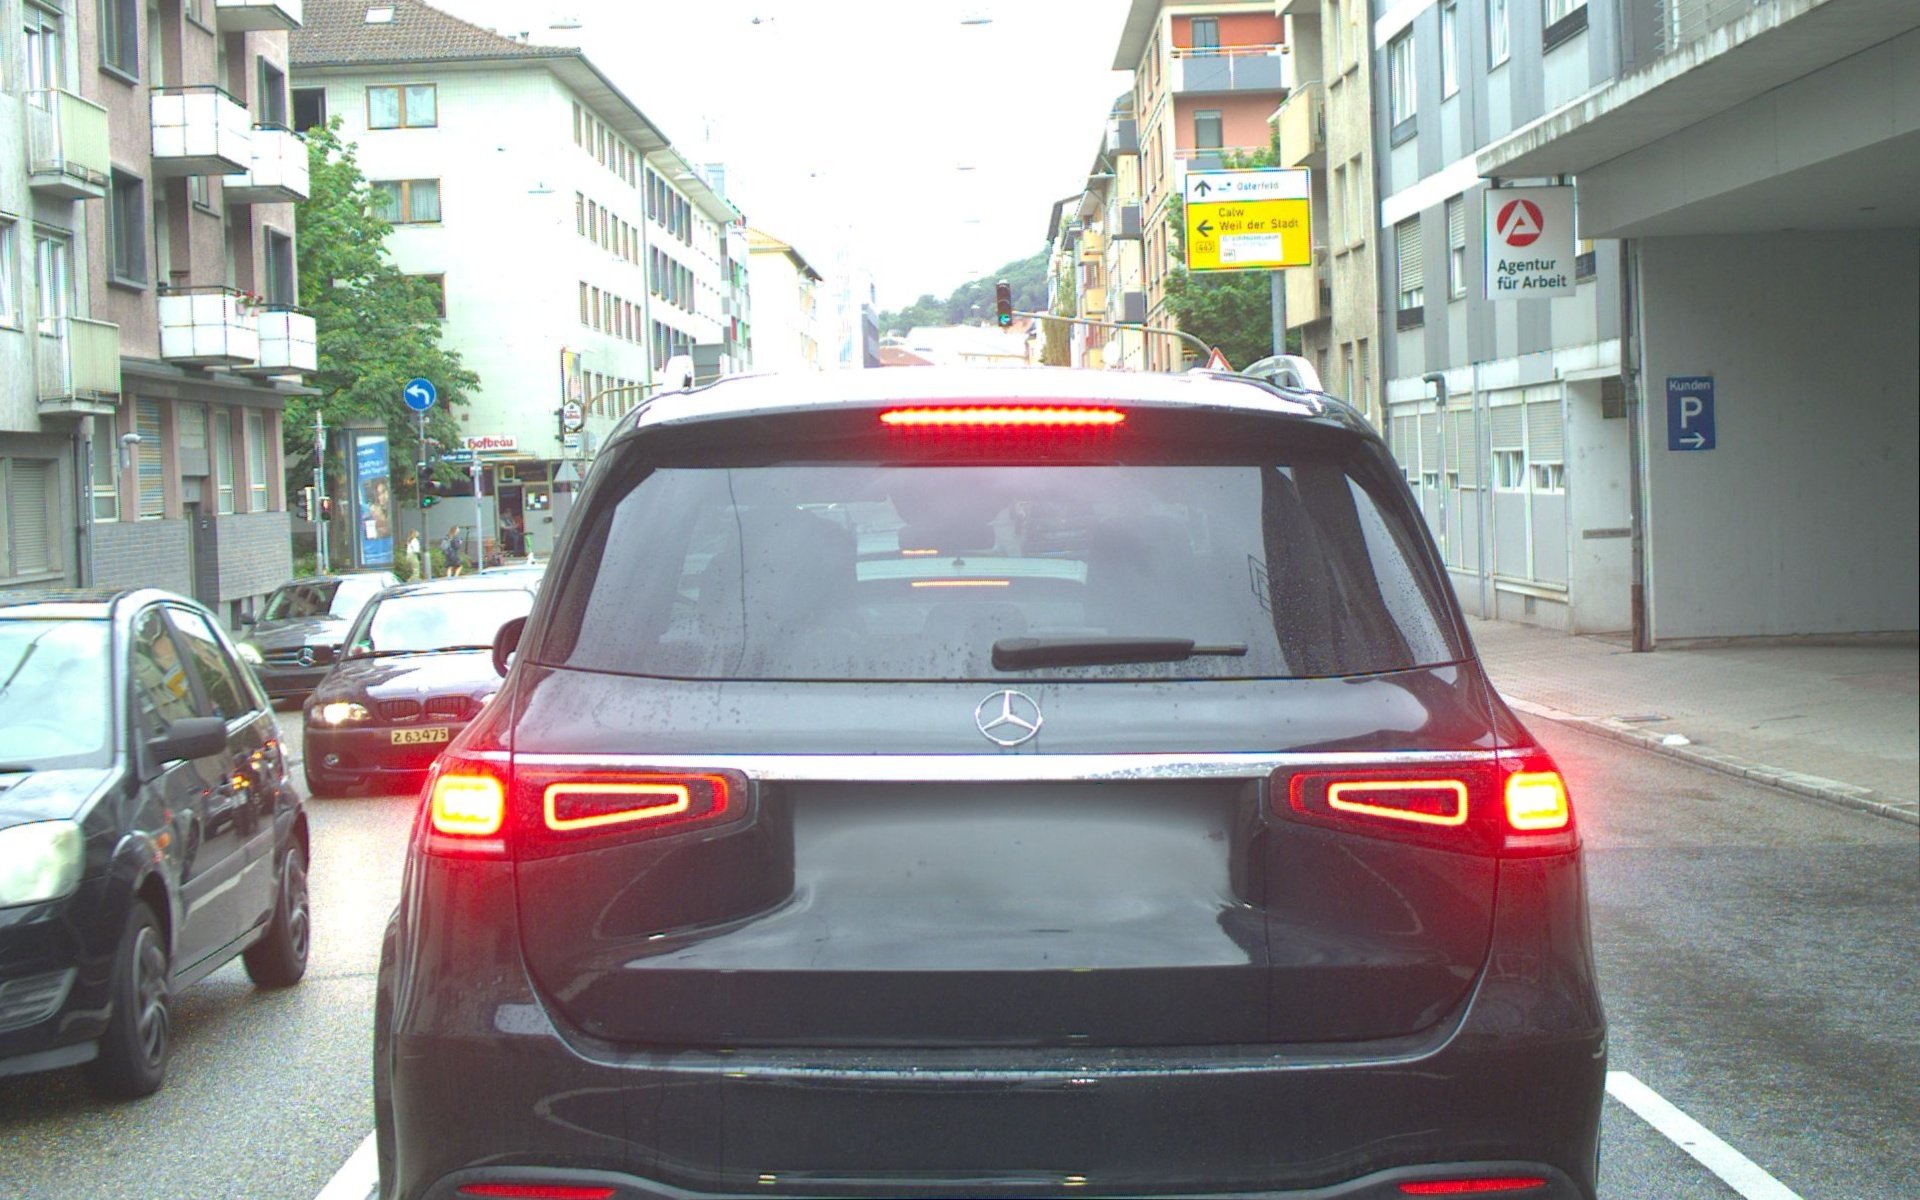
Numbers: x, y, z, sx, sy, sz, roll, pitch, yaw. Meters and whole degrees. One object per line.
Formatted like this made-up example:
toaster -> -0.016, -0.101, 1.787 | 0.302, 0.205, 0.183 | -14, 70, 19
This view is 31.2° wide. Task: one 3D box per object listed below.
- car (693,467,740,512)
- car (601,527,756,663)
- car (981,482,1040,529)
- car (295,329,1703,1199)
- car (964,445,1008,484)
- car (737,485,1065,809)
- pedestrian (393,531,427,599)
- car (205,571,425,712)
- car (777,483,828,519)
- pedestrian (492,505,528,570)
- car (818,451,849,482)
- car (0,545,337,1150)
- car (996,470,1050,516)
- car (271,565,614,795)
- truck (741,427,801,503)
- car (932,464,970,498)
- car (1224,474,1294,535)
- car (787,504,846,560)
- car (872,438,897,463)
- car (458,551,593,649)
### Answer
car -> -9.325, -4.200, 131.648 | 1.618, 1.534, 4.218 | -3, 1, -3
car -> -3.600, -0.073, 44.604 | 1.694, 1.575, 4.218 | -4, 0, -2
car -> 1.646, -3.123, 113.936 | 1.618, 1.382, 4.218 | -3, 1, -3
car -> 0.028, 0.506, 7.081 | 1.985, 1.799, 4.390 | 1, 1, -1
car -> 1.128, -5.996, 152.451 | 1.618, 1.534, 4.218 | -3, 1, -3
car -> -0.423, 0.236, 20.895 | 1.751, 1.725, 4.218 | -1, 1, -3
pedestrian -> -14.634, -0.936, 91.561 | 0.635, 1.758, 0.773 | -2, 1, 7
car -> -7.136, 0.421, 38.405 | 1.694, 1.365, 4.367 | -4, 1, -2
car -> -6.231, -3.905, 135.806 | 1.885, 1.260, 4.218 | -3, 1, -3
pedestrian -> -13.337, -1.847, 101.919 | 0.923, 1.895, 0.706 | -2, 1, -2
car -> -7.153, -7.489, 193.693 | 1.618, 1.534, 4.218 | -3, 1, -3
car -> -3.109, 0.654, 10.888 | 1.618, 1.534, 4.218 | -3, 1, -3
car -> 2.322, -3.950, 127.752 | 1.618, 1.534, 4.218 | -3, 1, -3
car -> -3.525, 0.499, 24.107 | 1.695, 1.365, 4.218 | -4, 0, 0
truck -> -8.620, -6.096, 157.065 | 2.479, 3.035, 9.921 | -3, 1, -3
car -> -0.470, -5.937, 171.623 | 1.618, 1.534, 4.218 | -3, 1, -3
car -> 8.219, -2.630, 94.667 | 1.671, 1.583, 3.330 | -2, 1, 2
car -> -4.234, -1.988, 101.280 | 1.618, 1.534, 4.218 | -3, 1, -3
car -> -5.481, -10.869, 250.186 | 1.618, 1.534, 4.218 | -3, 1, -3
car -> -6.806, -0.030, 54.227 | 1.598, 1.365, 4.363 | -4, 1, -2
